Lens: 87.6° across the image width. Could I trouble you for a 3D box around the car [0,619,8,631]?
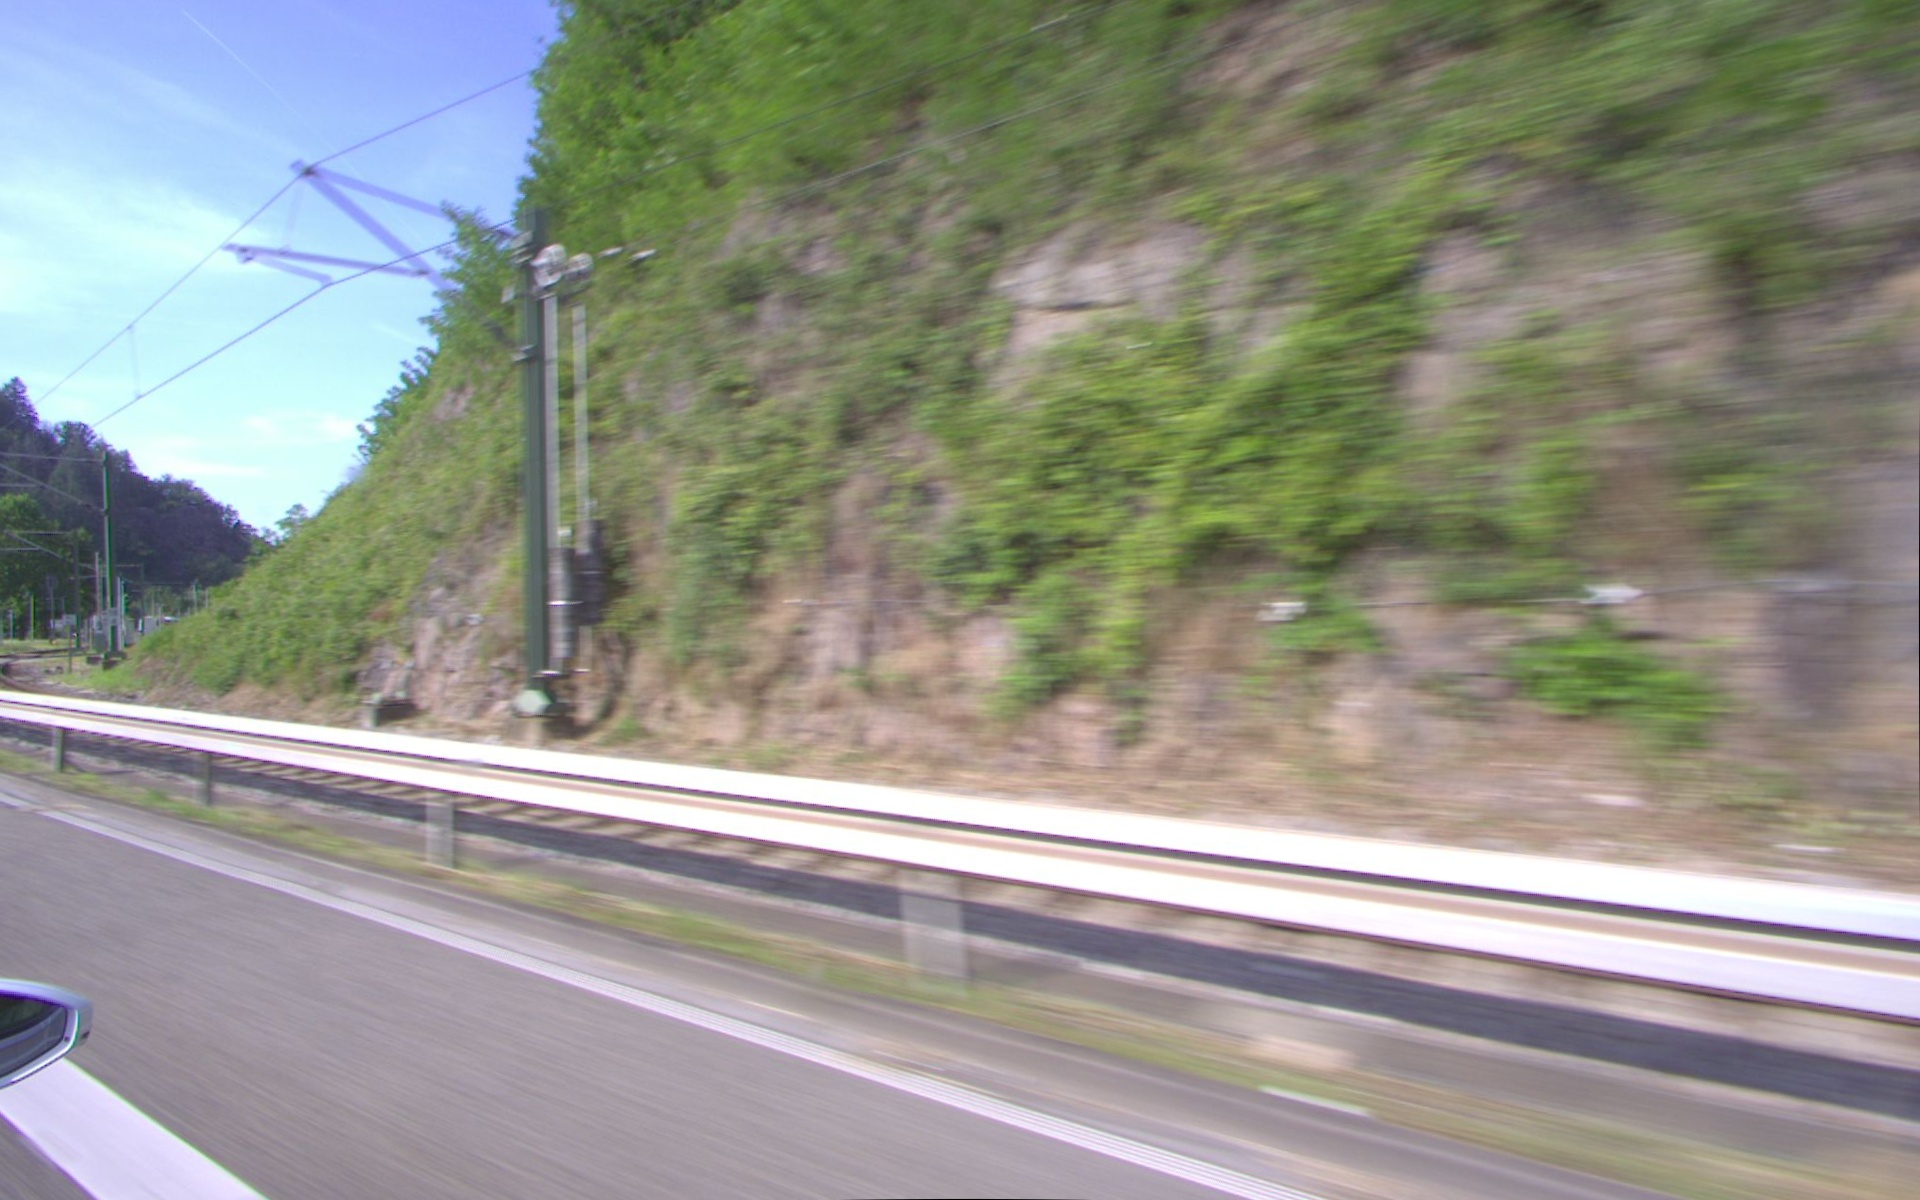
[{"bbox_3d":[-123.782,3.226,128.257,1.788,1.427,3.754,-1,0,-30],"label":"car"}]
